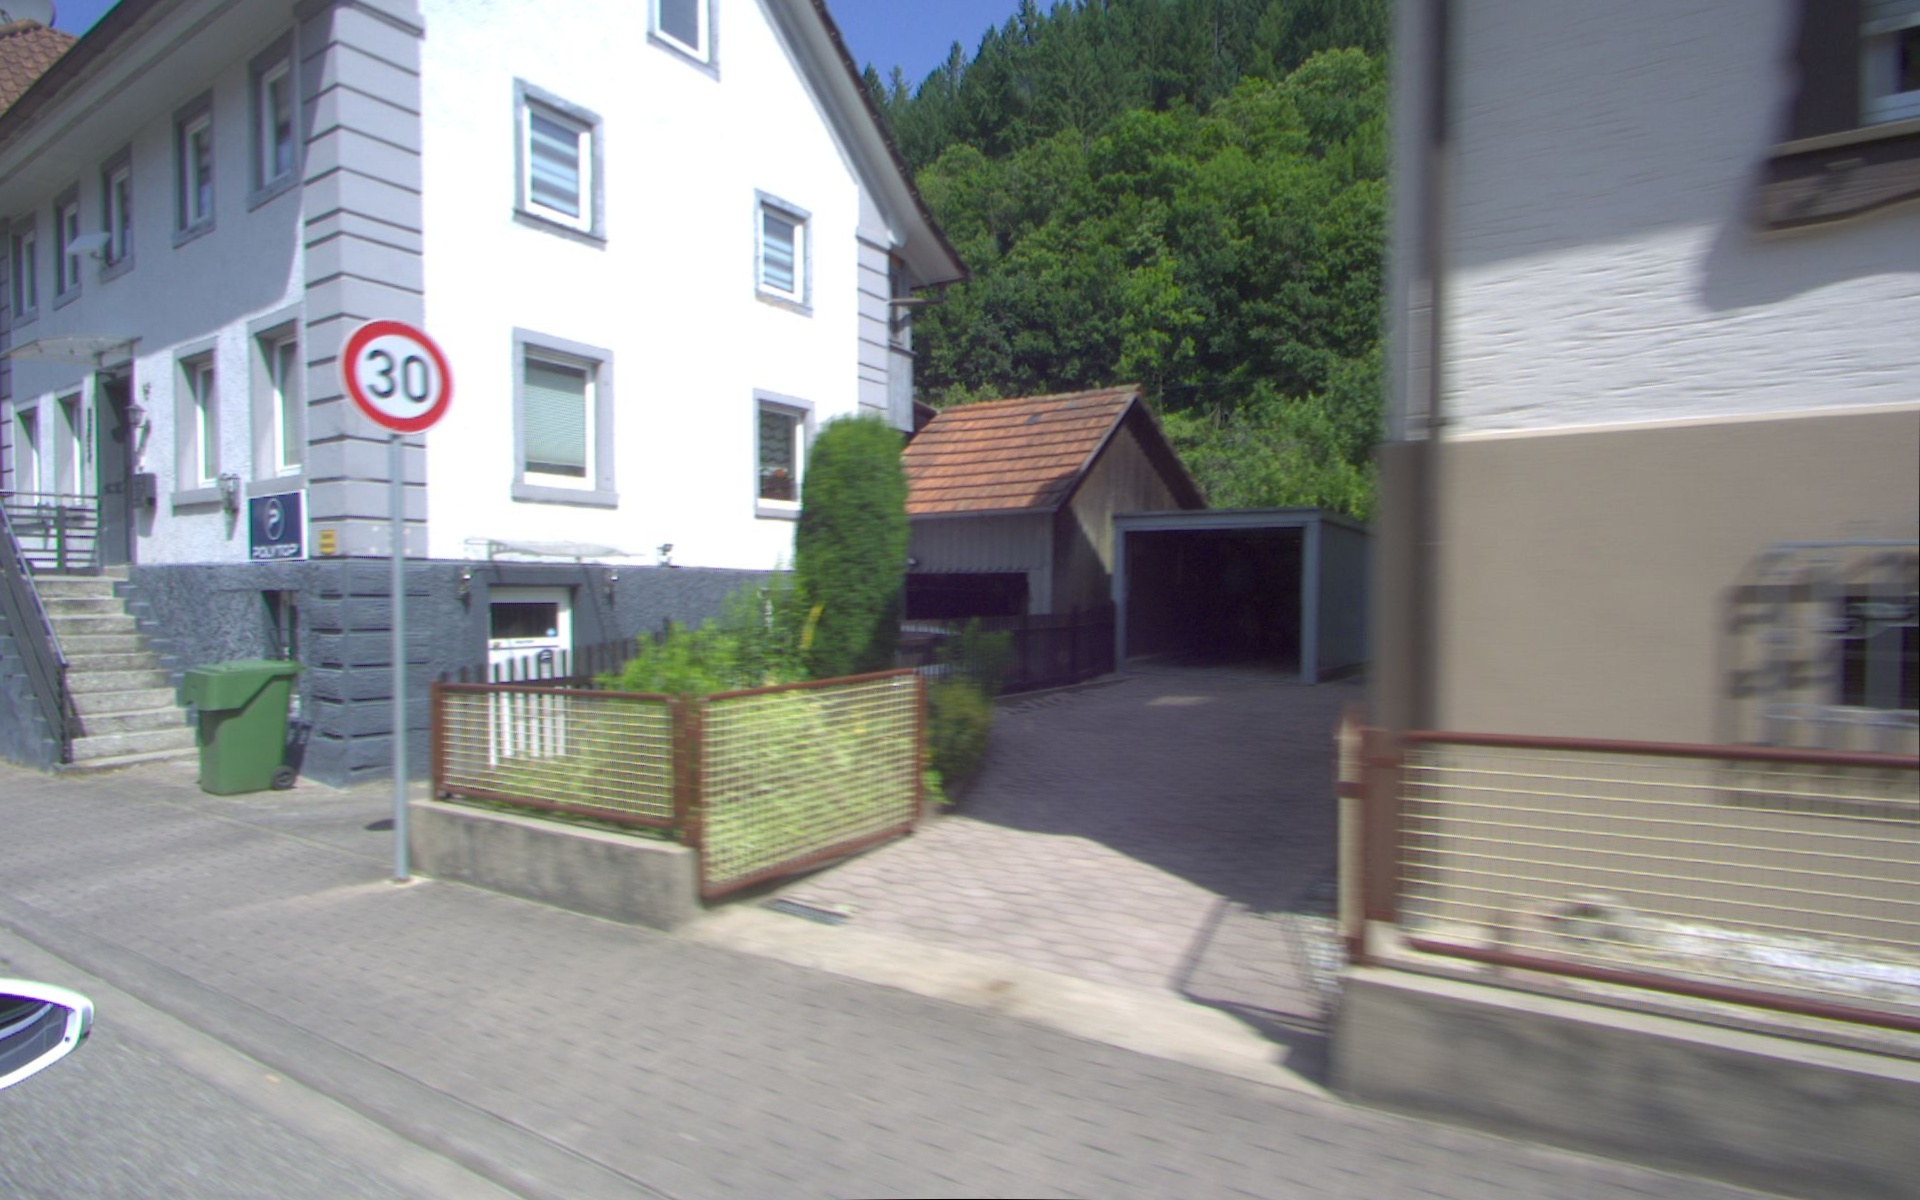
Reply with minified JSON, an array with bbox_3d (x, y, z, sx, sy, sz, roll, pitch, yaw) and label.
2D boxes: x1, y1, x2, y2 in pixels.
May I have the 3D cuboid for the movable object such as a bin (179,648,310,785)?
[{"bbox_3d":[-6.004,0.947,8.412,0.609,1.034,0.702,0,1,34],"label":"movable object such as a bin"}]

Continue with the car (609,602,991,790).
[{"bbox_3d":[-1.503,0.913,10.733,1.776,1.610,3.949,0,-2,36],"label":"car"}]
